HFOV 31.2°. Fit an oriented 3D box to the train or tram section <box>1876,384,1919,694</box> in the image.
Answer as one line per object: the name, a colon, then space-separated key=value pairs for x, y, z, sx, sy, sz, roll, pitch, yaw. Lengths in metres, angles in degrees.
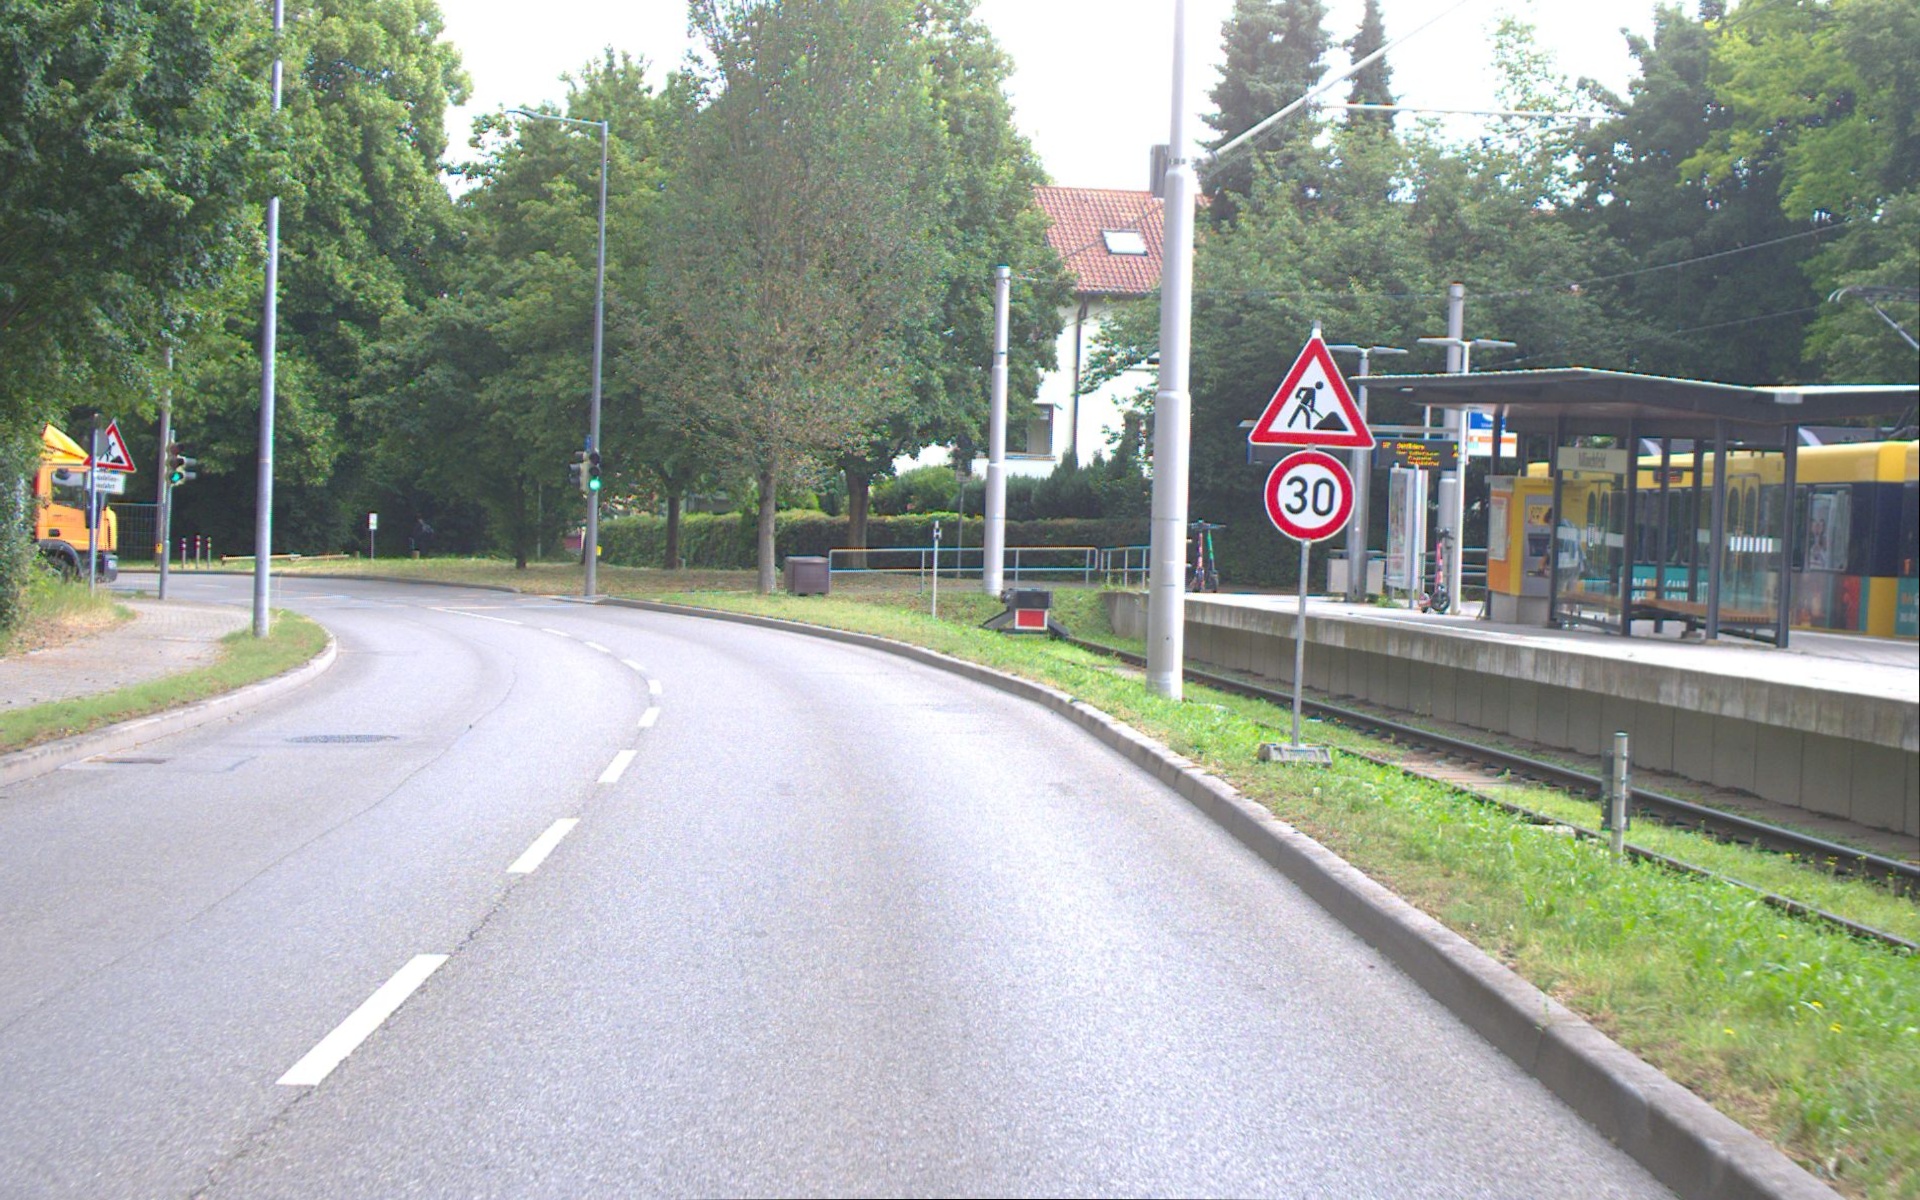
train or tram section: x=13.600 y=-0.415 z=32.946 sx=2.813 sy=3.724 sz=19.518 roll=3 pitch=2 yaw=-5

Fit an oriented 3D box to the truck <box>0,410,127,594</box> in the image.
truck: x=-21.162 y=-1.989 z=67.176 sx=9.228 sy=3.519 sz=2.566 roll=1 pitch=0 yaw=-19

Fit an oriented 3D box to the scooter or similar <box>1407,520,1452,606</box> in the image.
scooter or similar: x=6.944 y=-0.554 z=50.845 sx=0.368 sy=1.238 sz=1.146 roll=1 pitch=1 yaw=-6

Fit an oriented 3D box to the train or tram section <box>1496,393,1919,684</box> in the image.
train or tram section: x=11.937 y=-1.009 z=52.521 sx=2.813 sy=3.576 sz=19.518 roll=3 pitch=2 yaw=-5

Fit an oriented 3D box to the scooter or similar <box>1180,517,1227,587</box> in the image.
scooter or similar: x=4.460 y=-0.870 z=63.024 sx=0.429 sy=1.249 sz=1.255 roll=1 pitch=0 yaw=-17

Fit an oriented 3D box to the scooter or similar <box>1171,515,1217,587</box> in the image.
scooter or similar: x=4.145 y=-0.870 z=60.945 sx=0.429 sy=1.249 sz=1.255 roll=0 pitch=0 yaw=-14

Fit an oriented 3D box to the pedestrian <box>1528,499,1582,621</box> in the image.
pedestrian: x=7.808 y=-0.526 z=45.102 sx=0.623 sy=1.567 sz=0.665 roll=2 pitch=1 yaw=12
